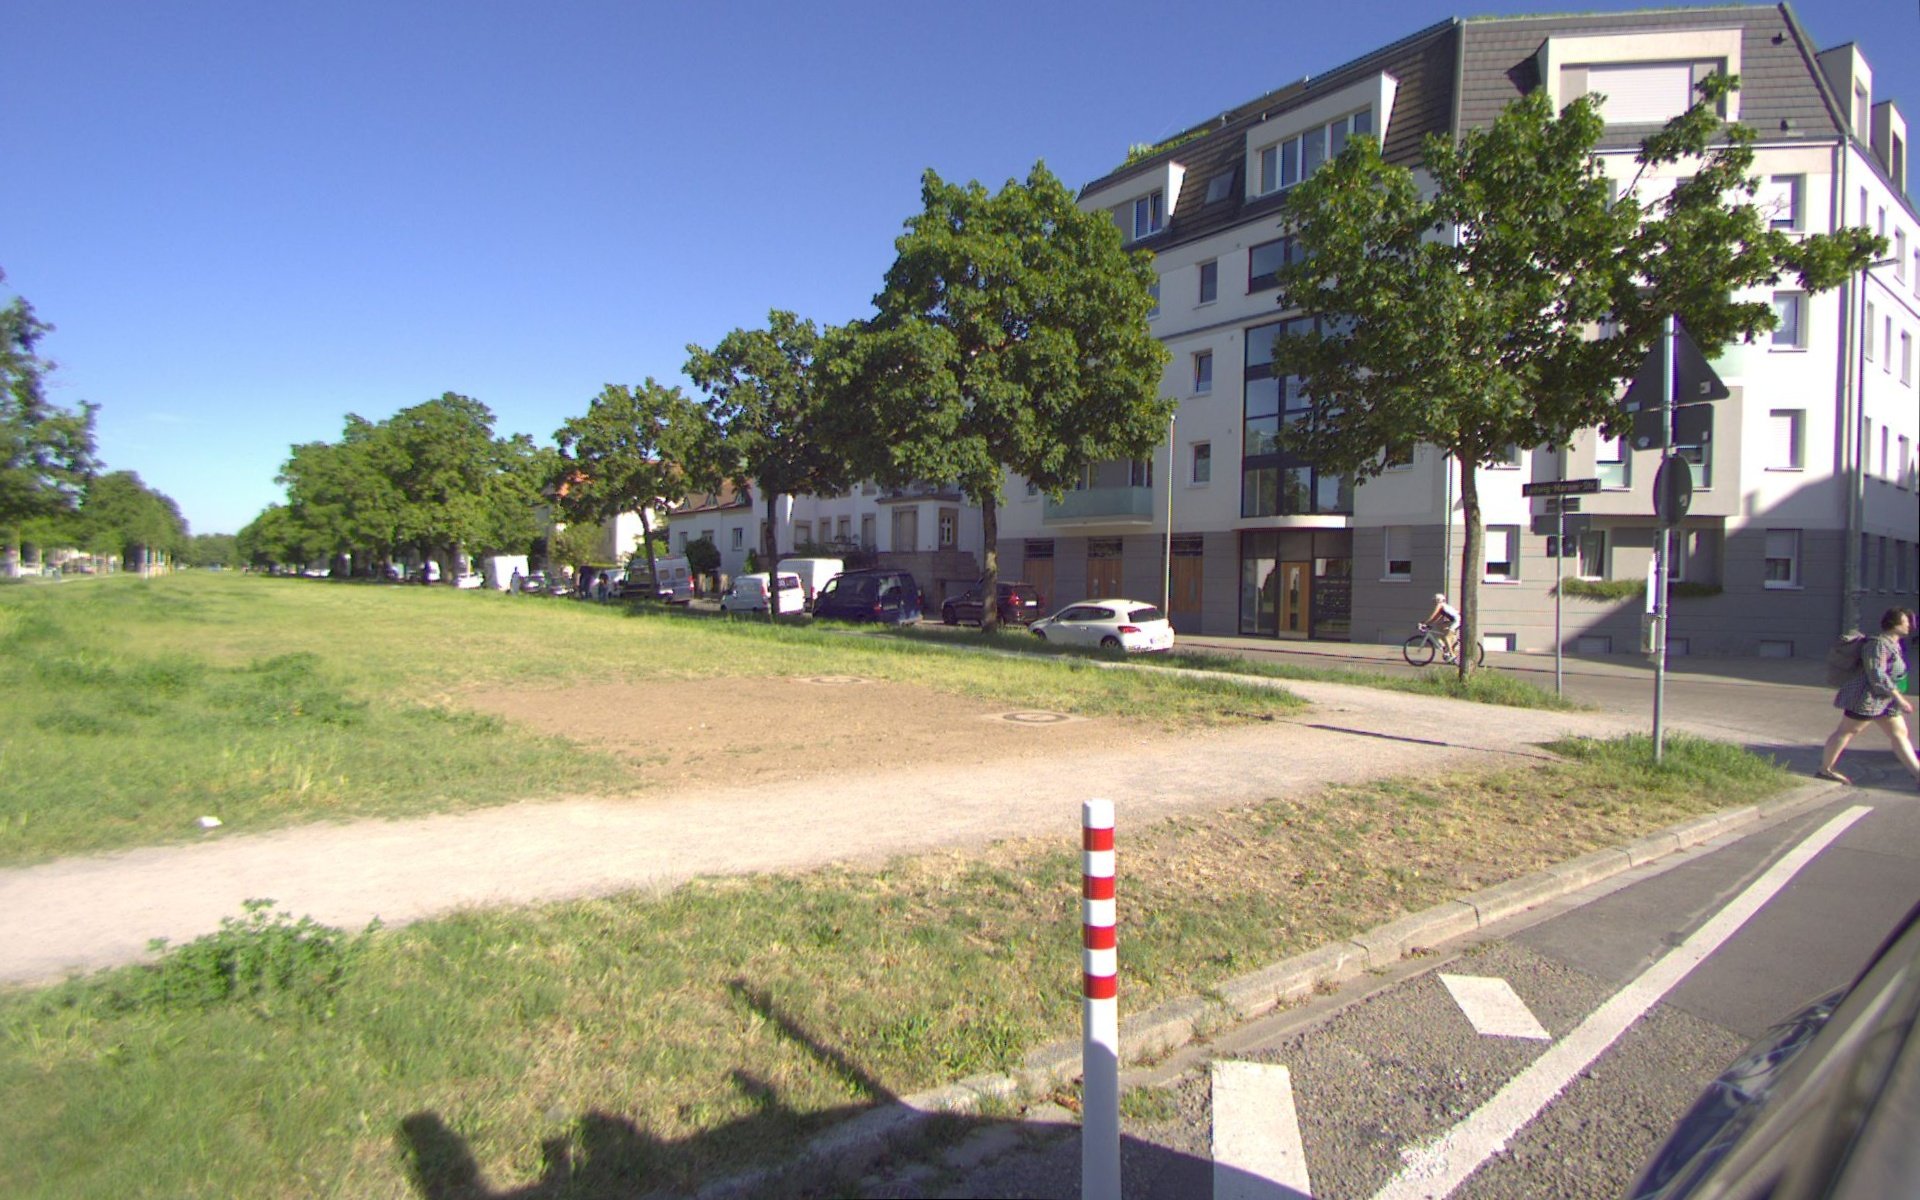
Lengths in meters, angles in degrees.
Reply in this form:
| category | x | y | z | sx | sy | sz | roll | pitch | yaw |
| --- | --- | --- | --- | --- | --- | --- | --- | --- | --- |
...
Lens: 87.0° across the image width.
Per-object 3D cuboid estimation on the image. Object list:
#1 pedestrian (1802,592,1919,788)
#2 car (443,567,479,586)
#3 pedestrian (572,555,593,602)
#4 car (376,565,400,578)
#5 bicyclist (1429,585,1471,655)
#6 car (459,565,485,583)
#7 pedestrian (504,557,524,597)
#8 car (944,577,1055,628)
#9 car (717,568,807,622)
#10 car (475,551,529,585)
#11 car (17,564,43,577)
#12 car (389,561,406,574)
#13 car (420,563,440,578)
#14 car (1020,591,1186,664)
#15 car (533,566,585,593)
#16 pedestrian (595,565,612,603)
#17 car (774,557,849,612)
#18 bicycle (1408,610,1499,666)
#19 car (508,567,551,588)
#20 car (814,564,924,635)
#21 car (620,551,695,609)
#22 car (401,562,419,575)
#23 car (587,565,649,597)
| category | x | y | z | sx | sy | sz | roll | pitch | yaw |
| --- | --- | --- | --- | --- | --- | --- | --- | --- | --- |
| pedestrian | 8.448 | 0.776 | 9.234 | 1.083 | 1.695 | 0.902 | -1 | -1 | 36 |
| car | -43.162 | -2.039 | 87.499 | 2.042 | 1.484 | 4.728 | 1 | 1 | -36 |
| pedestrian | -15.364 | -0.861 | 41.206 | 0.632 | 1.900 | 0.629 | 1 | 1 | -38 |
| car | -70.005 | -3.473 | 123.873 | 2.042 | 1.484 | 4.728 | 1 | 1 | -36 |
| bicyclist | 10.642 | 0.420 | 21.982 | 0.684 | 1.482 | 0.491 | 2 | 1 | 39 |
| car | -51.657 | -2.733 | 107.115 | 1.831 | 1.868 | 3.994 | 0 | 2 | -36 |
| pedestrian | -21.097 | -1.096 | 47.897 | 0.711 | 1.900 | 0.629 | 1 | 1 | -38 |
| car | 1.401 | 0.029 | 37.320 | 1.861 | 1.703 | 4.289 | -1 | 2 | -36 |
| car | -7.894 | -0.256 | 40.005 | 1.841 | 1.906 | 4.425 | -4 | 4 | -34 |
| car | -34.043 | -2.357 | 75.069 | 2.503 | 2.363 | 5.920 | 1 | 1 | -36 |
| car | -99.381 | -3.148 | 108.163 | 1.689 | 1.358 | 3.808 | 1 | 1 | -37 |
| car | -87.950 | -5.092 | 158.163 | 1.831 | 1.868 | 3.994 | 1 | 1 | -36 |
| car | -71.095 | -3.963 | 135.665 | 1.830 | 1.868 | 3.994 | 1 | 1 | -36 |
| car | 3.432 | 0.591 | 24.911 | 1.708 | 1.450 | 3.993 | -5 | 4 | -37 |
| car | -25.291 | -1.307 | 63.791 | 2.046 | 1.618 | 4.288 | 1 | 1 | -36 |
| pedestrian | -14.600 | -0.645 | 41.437 | 0.487 | 1.524 | 0.535 | 1 | 1 | -37 |
| car | -7.217 | -0.798 | 48.947 | 1.985 | 2.580 | 3.994 | -1 | 2 | -36 |
| bicycle | 10.684 | 0.799 | 21.947 | 1.701 | 1.102 | 0.500 | 2 | 1 | 40 |
| car | -29.817 | -1.542 | 70.063 | 1.898 | 1.361 | 4.110 | 1 | 1 | -36 |
| car | -3.046 | -0.099 | 33.298 | 1.752 | 2.108 | 3.994 | -4 | 4 | -36 |
| car | -14.796 | -1.031 | 49.349 | 2.153 | 2.615 | 4.288 | -4 | 4 | -36 |
| car | -79.340 | -4.558 | 145.971 | 1.831 | 1.868 | 3.994 | 1 | 1 | -36 |
| car | -18.622 | -1.071 | 54.986 | 2.046 | 1.618 | 4.288 | 1 | 1 | -36 |
